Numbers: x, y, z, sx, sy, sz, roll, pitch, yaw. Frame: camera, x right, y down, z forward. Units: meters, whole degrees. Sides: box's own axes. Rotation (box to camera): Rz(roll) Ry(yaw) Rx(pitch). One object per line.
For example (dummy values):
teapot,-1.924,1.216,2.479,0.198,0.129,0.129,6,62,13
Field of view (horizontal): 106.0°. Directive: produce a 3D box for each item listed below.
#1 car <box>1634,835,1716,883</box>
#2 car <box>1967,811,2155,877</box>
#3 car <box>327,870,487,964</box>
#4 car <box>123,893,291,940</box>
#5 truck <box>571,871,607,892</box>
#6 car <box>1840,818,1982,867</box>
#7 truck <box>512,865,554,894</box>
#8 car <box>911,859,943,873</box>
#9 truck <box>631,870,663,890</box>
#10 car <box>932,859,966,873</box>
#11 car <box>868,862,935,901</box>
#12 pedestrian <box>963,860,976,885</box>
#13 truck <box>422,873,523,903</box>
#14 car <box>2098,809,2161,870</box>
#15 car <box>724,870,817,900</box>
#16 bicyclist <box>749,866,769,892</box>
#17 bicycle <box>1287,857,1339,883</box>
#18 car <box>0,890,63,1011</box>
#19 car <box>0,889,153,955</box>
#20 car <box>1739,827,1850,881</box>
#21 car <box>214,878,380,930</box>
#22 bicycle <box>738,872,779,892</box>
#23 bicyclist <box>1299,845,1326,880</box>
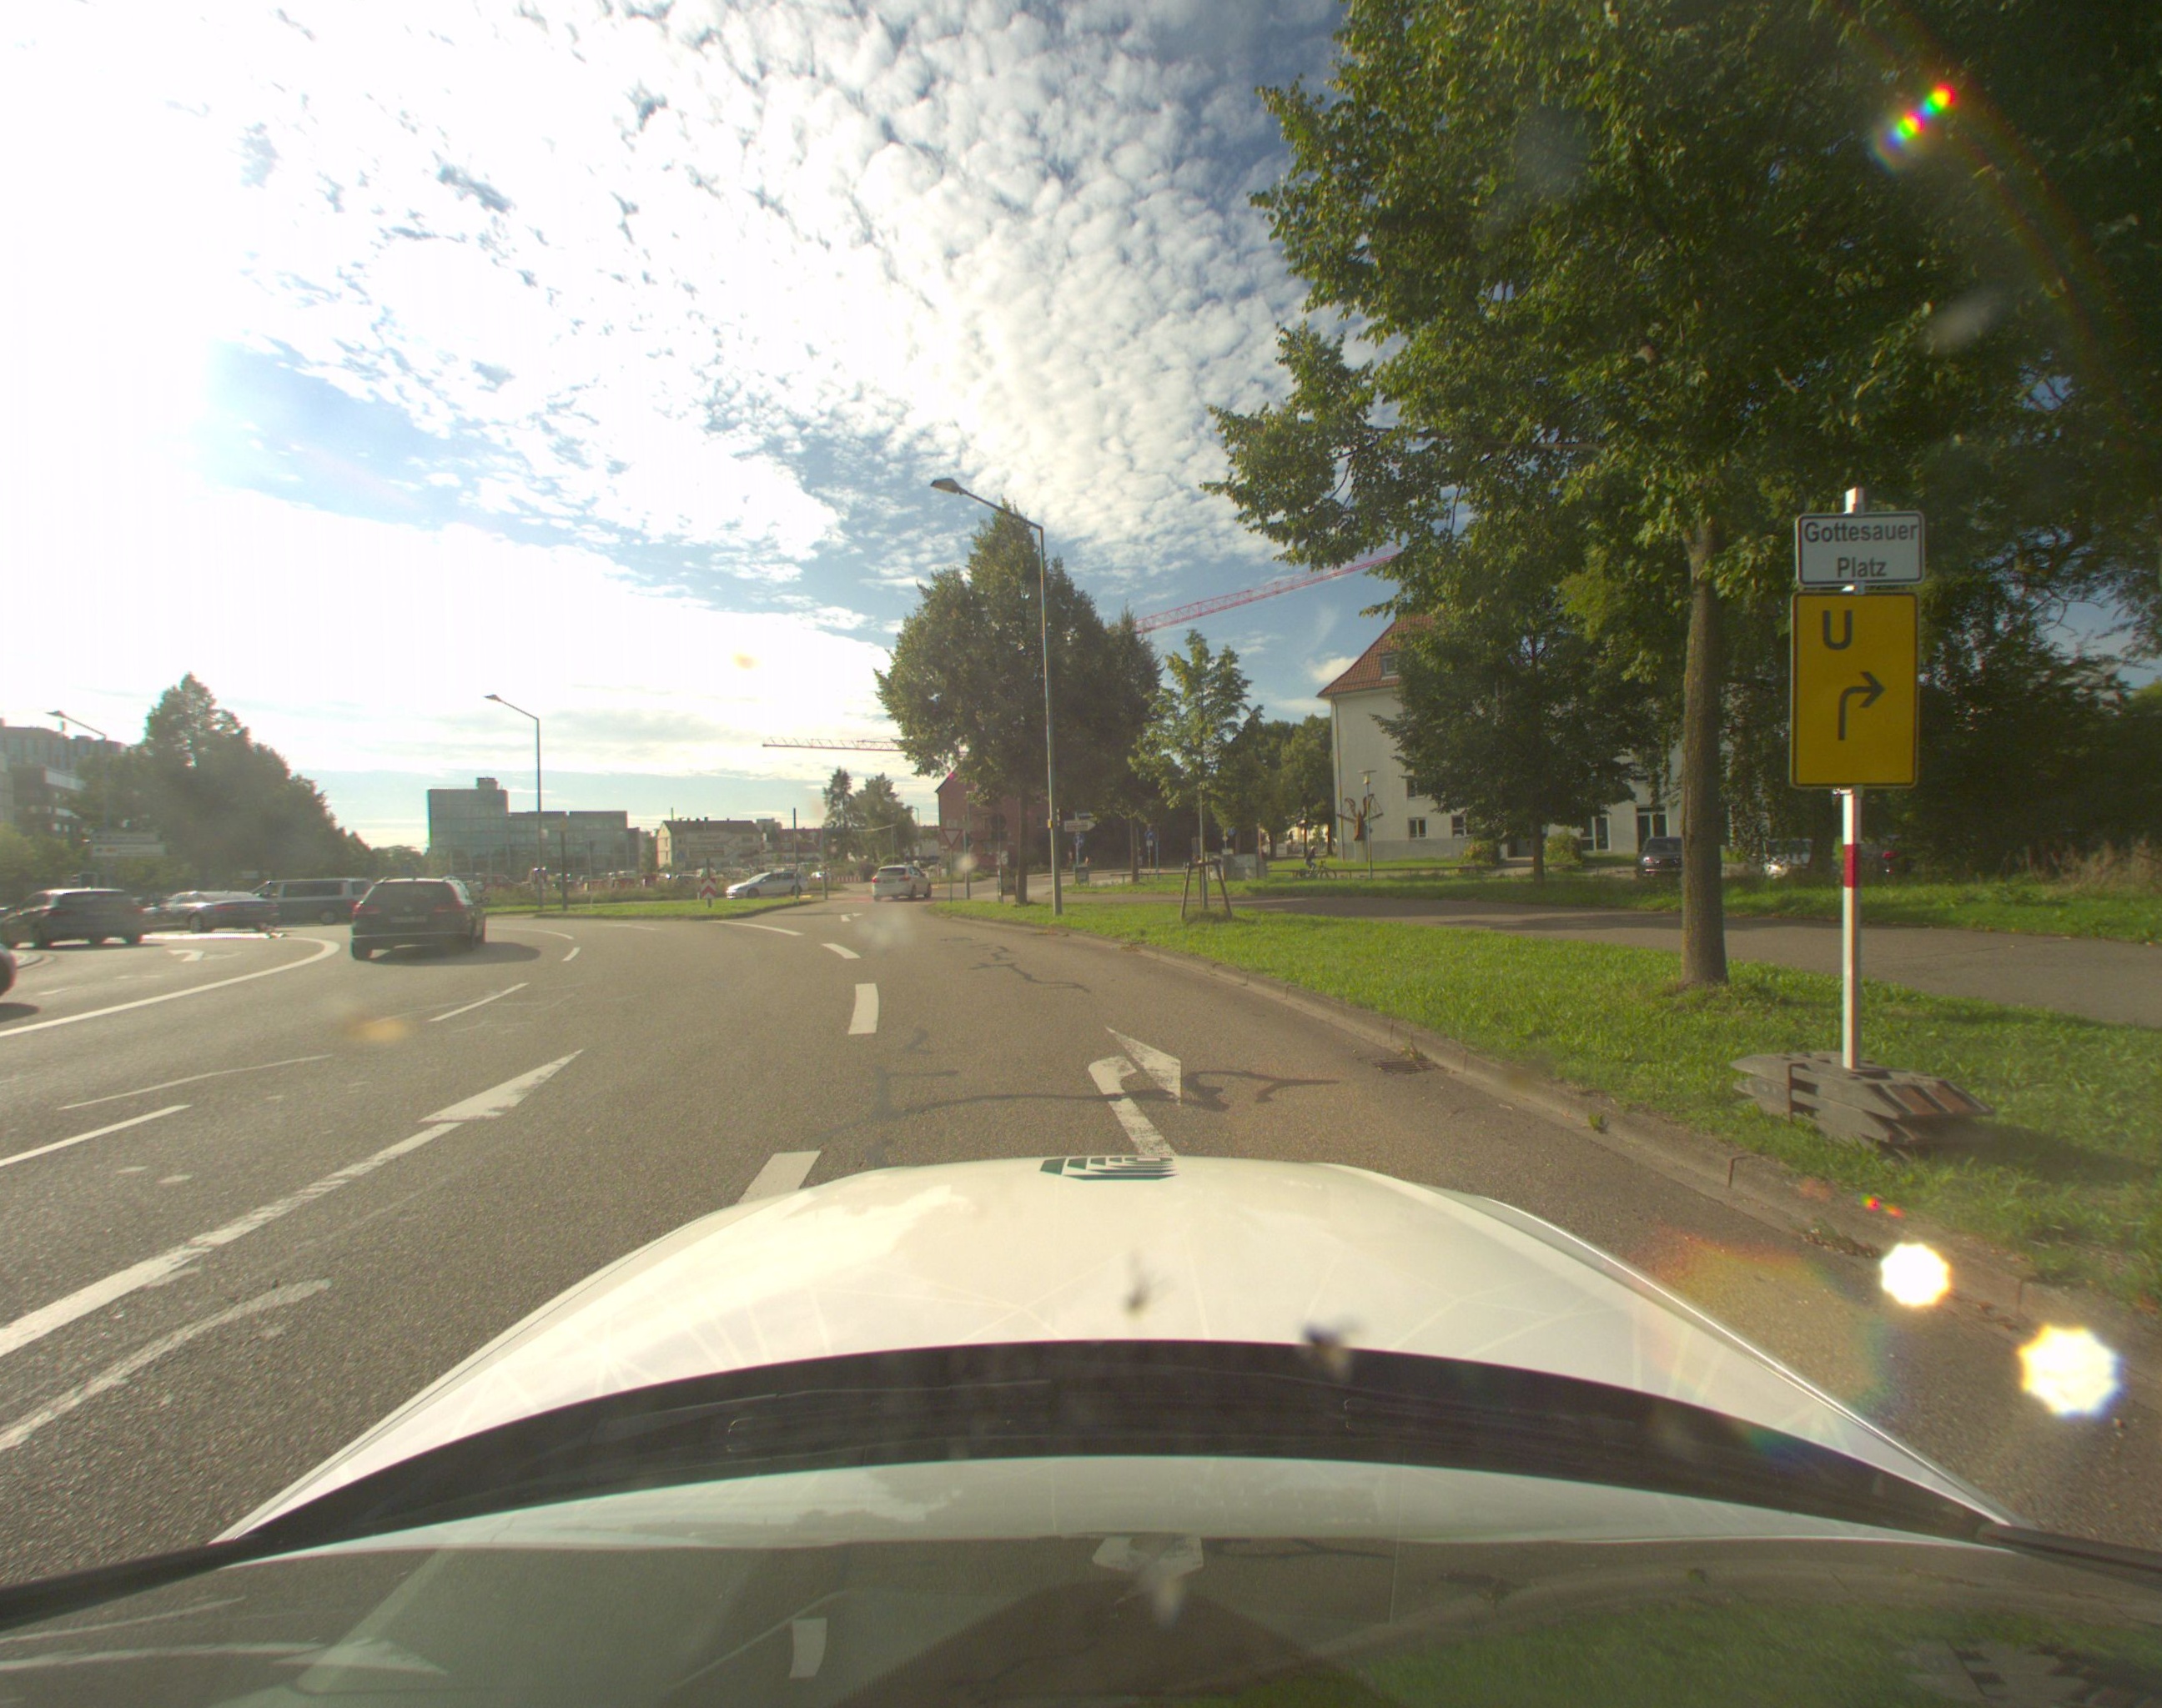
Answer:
car,19.080,0.128,26.321,1.837,1.381,4.544,-3,0,33
car,26.048,-0.266,21.883,1.837,1.515,4.764,-3,0,33
car,-13.514,1.191,16.632,2.008,1.567,4.793,-1,-2,-34
car,-29.984,2.141,27.980,4.612,1.431,1.909,-1,0,14
truck,-59.844,3.393,99.077,2.348,2.328,6.373,-2,-1,-44
car,23.690,-0.331,23.459,1.837,1.207,4.764,-3,0,33
truck,-63.912,2.986,94.869,2.833,3.207,7.225,-2,-1,-44
car,-20.456,1.603,108.112,3.991,1.618,1.765,-2,0,-13
truck,-55.214,3.328,103.606,2.075,2.328,5.569,-2,-1,-44
car,-16.693,1.494,102.954,3.977,1.618,1.772,-2,0,-3
car,-8.104,1.212,37.101,1.843,1.572,4.458,-1,0,3
pedestrian,-8.712,1.426,63.425,0.662,1.871,0.839,-3,-1,15
truck,-60.702,3.339,81.382,7.902,2.567,3.038,-2,-1,-41
car,28.259,-0.415,20.525,1.837,1.515,4.764,-3,0,33
car,-17.533,1.714,46.133,1.800,1.452,4.571,-3,0,39
bicyclist,-19.443,1.525,49.121,1.012,1.511,0.699,-3,0,-25
bicycle,10.634,0.720,37.337,2.122,1.137,0.777,-2,0,40
car,-13.764,1.210,8.285,1.854,1.445,4.614,-1,0,-15
car,-27.682,1.803,22.296,4.018,1.572,1.783,-1,0,23
car,21.755,-0.034,25.021,1.837,1.440,4.764,-3,0,33
car,-33.196,2.084,34.646,4.657,1.903,1.891,-1,0,-17
bicycle,-19.455,1.686,49.078,2.209,1.063,0.699,-3,0,-26
bicyclist,10.617,0.402,37.341,0.948,1.575,0.777,-2,0,40
